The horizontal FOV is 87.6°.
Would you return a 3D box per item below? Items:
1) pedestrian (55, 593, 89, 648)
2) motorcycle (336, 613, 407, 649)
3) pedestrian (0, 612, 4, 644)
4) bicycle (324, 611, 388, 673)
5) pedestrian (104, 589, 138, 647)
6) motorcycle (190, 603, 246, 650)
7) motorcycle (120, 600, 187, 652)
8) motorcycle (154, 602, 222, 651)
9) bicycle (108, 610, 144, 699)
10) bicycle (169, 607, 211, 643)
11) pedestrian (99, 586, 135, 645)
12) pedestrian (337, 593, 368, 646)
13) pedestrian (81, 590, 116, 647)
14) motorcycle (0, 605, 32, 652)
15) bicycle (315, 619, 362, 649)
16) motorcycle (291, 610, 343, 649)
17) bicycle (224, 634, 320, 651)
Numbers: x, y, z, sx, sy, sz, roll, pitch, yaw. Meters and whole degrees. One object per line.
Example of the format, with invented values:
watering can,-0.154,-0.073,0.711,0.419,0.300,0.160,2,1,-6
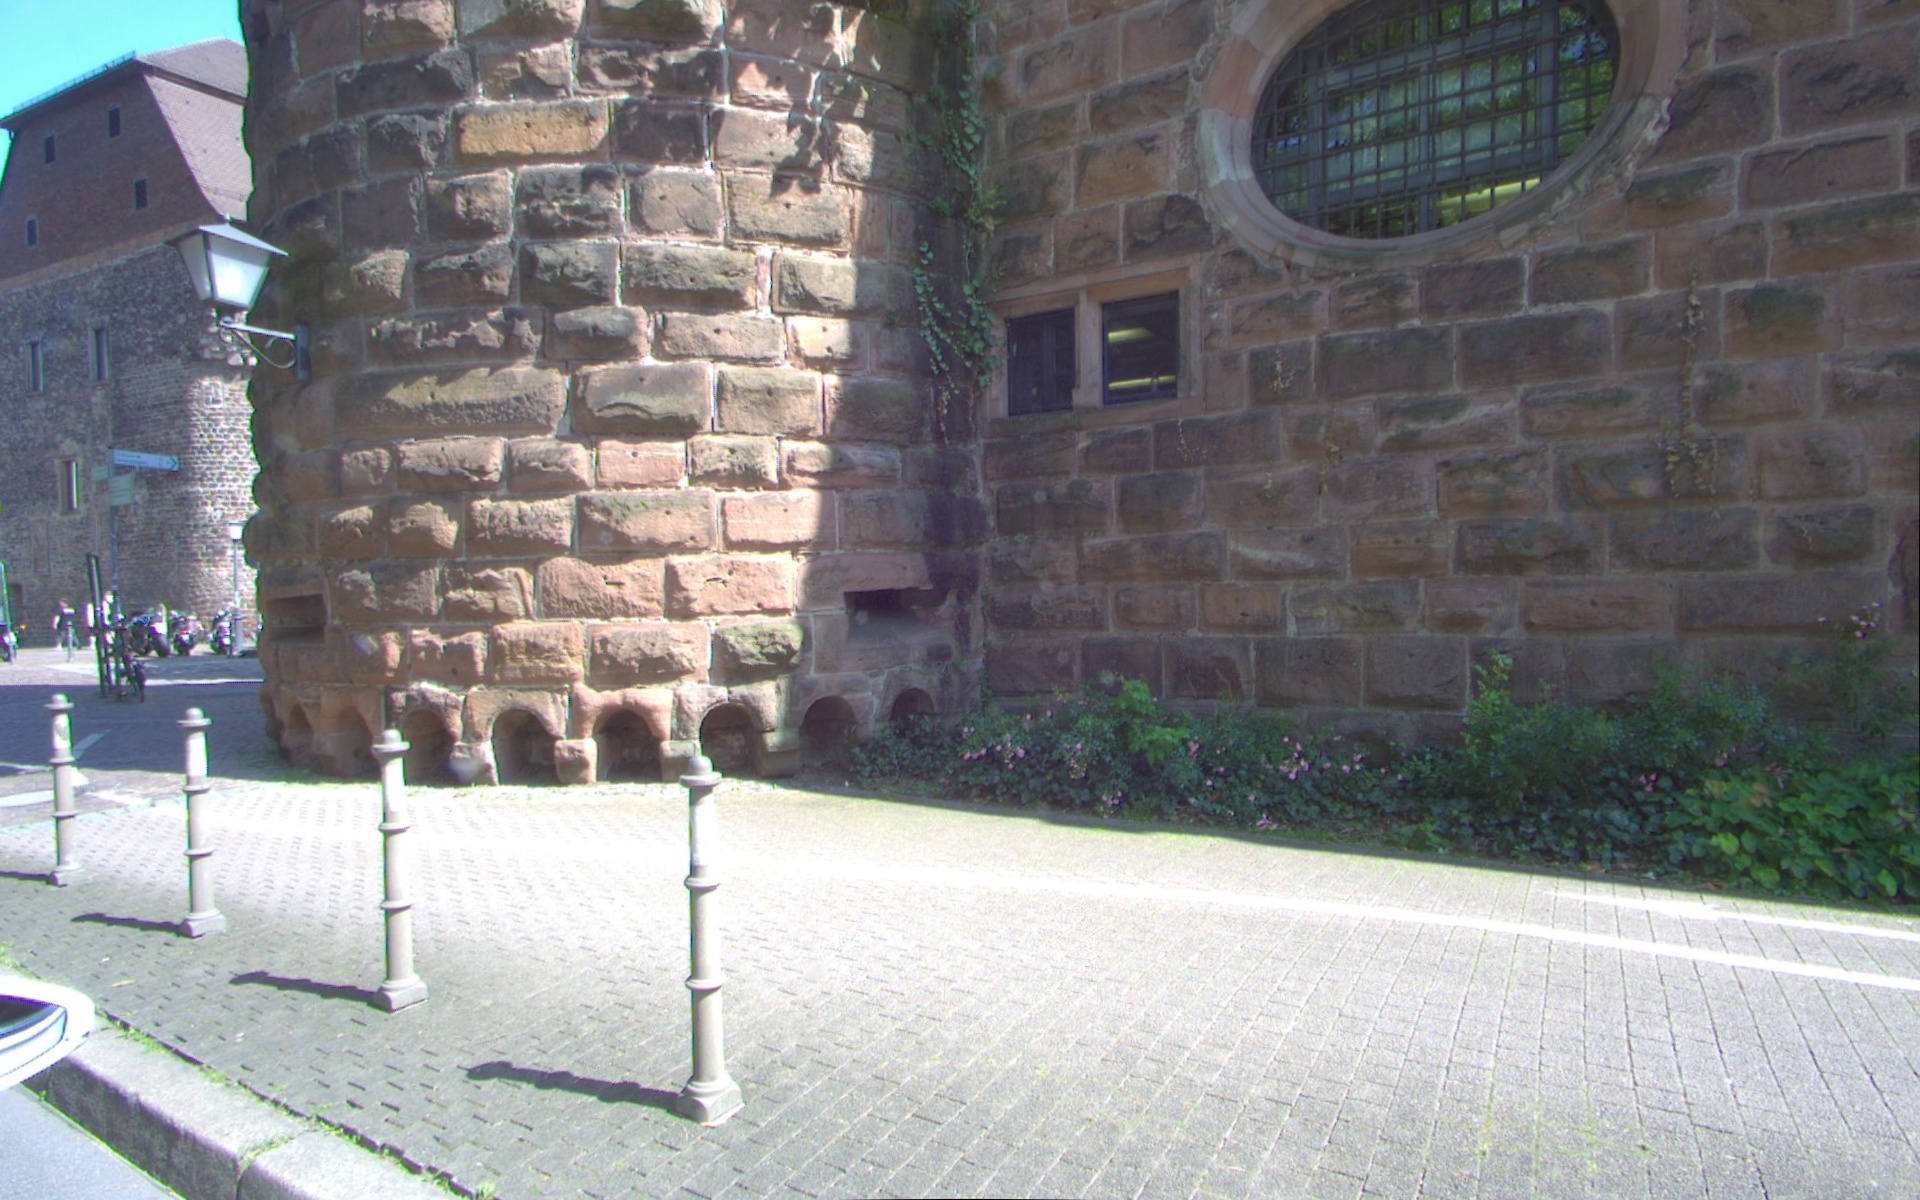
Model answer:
pedestrian,-30.040,0.682,33.888,0.835,1.826,0.651,0,0,31
motorcycle,-18.248,0.965,31.095,0.474,1.067,1.858,-1,-2,40
pedestrian,-49.668,1.444,51.413,0.684,1.634,0.885,-2,2,-35
bicycle,-12.019,0.808,19.900,1.707,1.178,0.445,0,1,36
pedestrian,-28.885,0.624,34.466,0.809,1.944,0.667,-1,-1,31
motorcycle,-20.370,0.738,27.488,2.002,1.251,0.545,-1,-2,32
motorcycle,-20.543,0.661,25.498,2.169,1.282,0.654,-1,-1,32
motorcycle,-20.341,0.711,26.379,2.280,1.251,0.674,-1,-2,32
bicycle,-12.053,0.758,14.466,1.750,1.220,0.192,0,1,44
bicycle,-26.686,0.883,34.698,1.690,1.225,0.388,-1,-1,24
pedestrian,-29.577,0.561,35.115,0.865,2.039,0.729,-1,-1,32
pedestrian,-19.672,0.628,32.414,0.799,1.684,0.652,-1,1,-33
pedestrian,-28.854,0.628,33.530,0.809,1.908,0.667,-1,-1,31
motorcycle,-22.178,0.647,23.043,2.453,1.026,0.565,0,1,32
bicycle,-18.384,0.999,29.617,1.898,0.831,0.353,0,-1,32
motorcycle,-18.077,0.833,28.139,1.814,1.087,0.506,-1,-2,32
bicycle,-17.581,1.085,25.602,1.916,0.386,0.909,0,-2,-44
